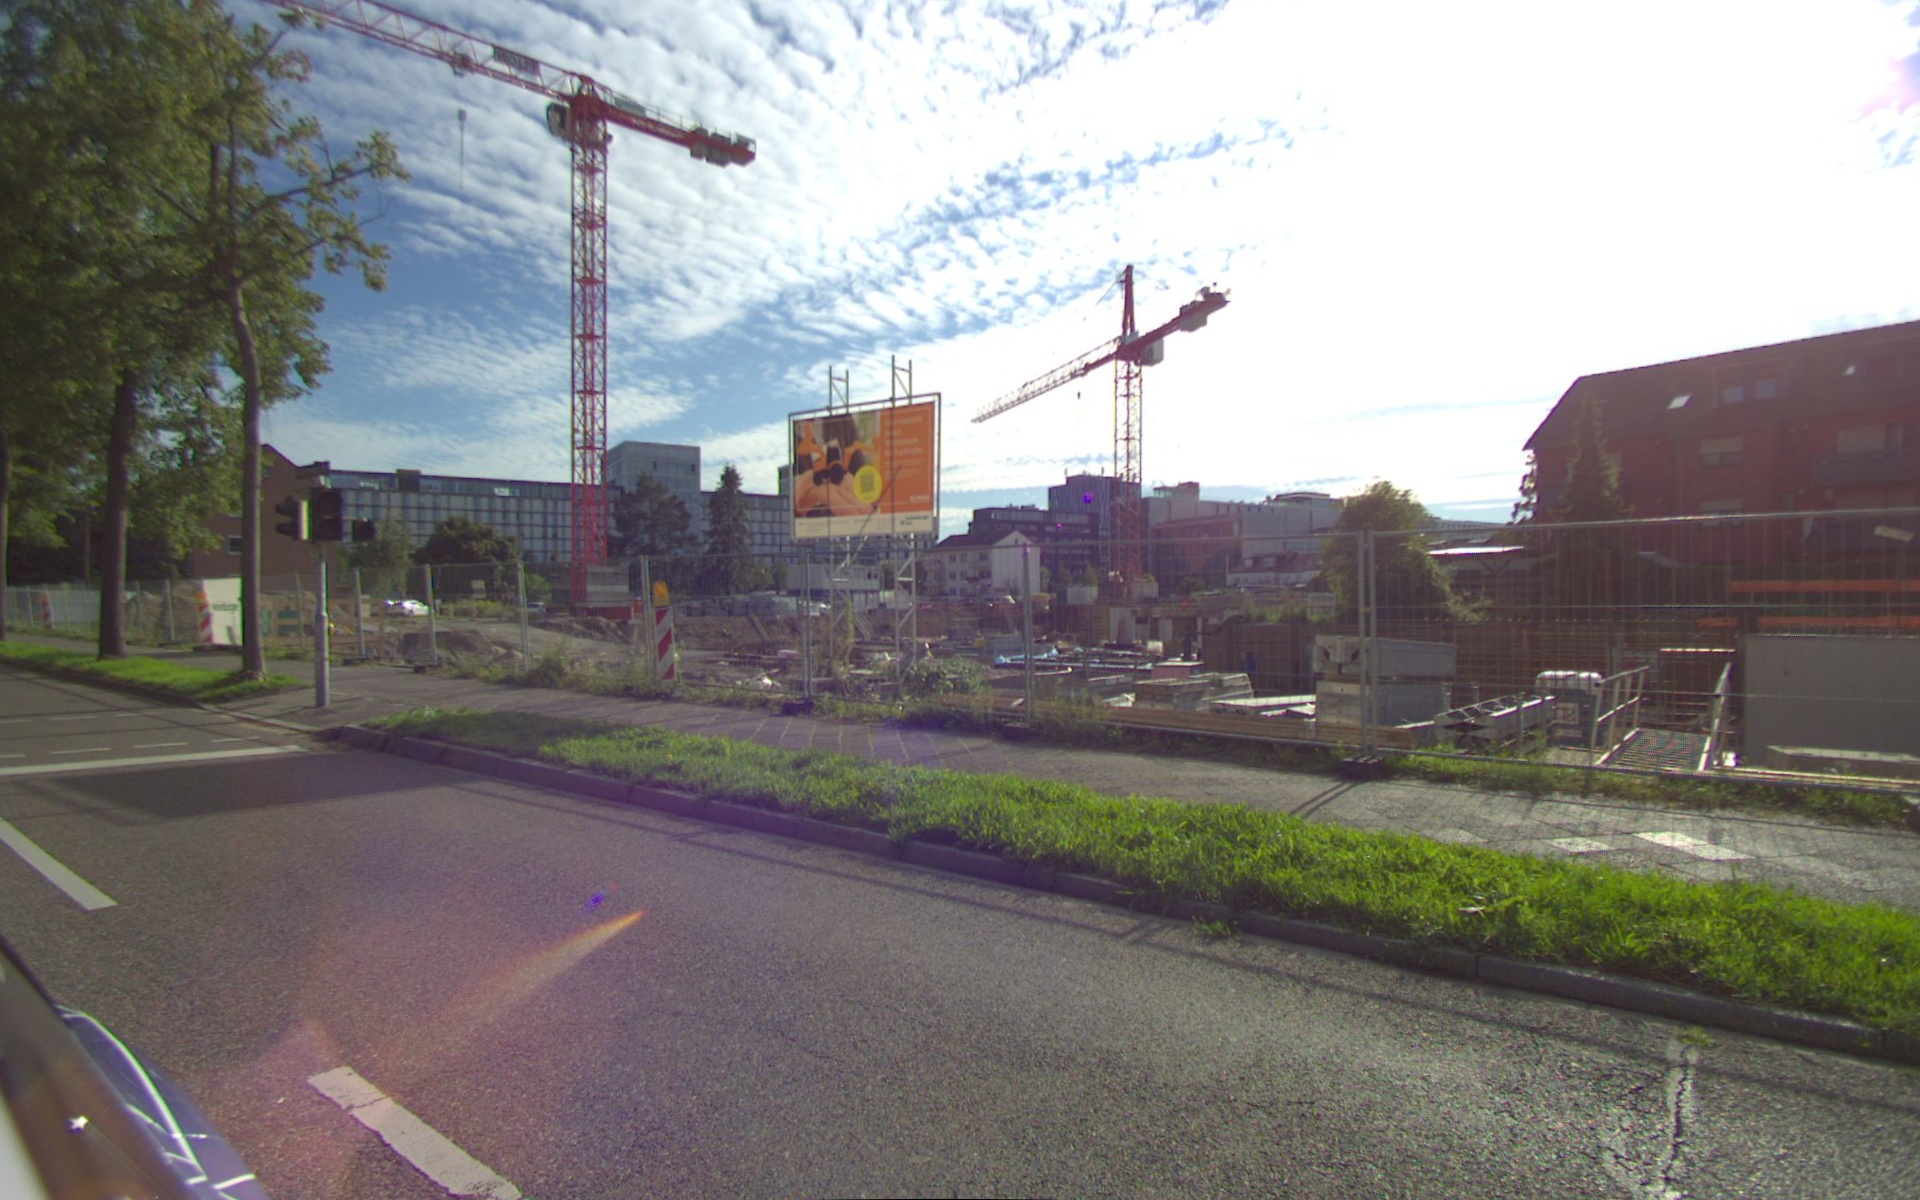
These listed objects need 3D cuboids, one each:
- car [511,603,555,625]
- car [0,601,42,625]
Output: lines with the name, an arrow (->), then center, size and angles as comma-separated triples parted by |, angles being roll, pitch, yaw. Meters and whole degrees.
car -> -38.559, 1.205, 91.350 | 3.974, 1.821, 1.798 | 2, 2, 33
car -> -61.420, 0.820, 65.852 | 4.505, 1.439, 1.973 | 1, 0, 41
